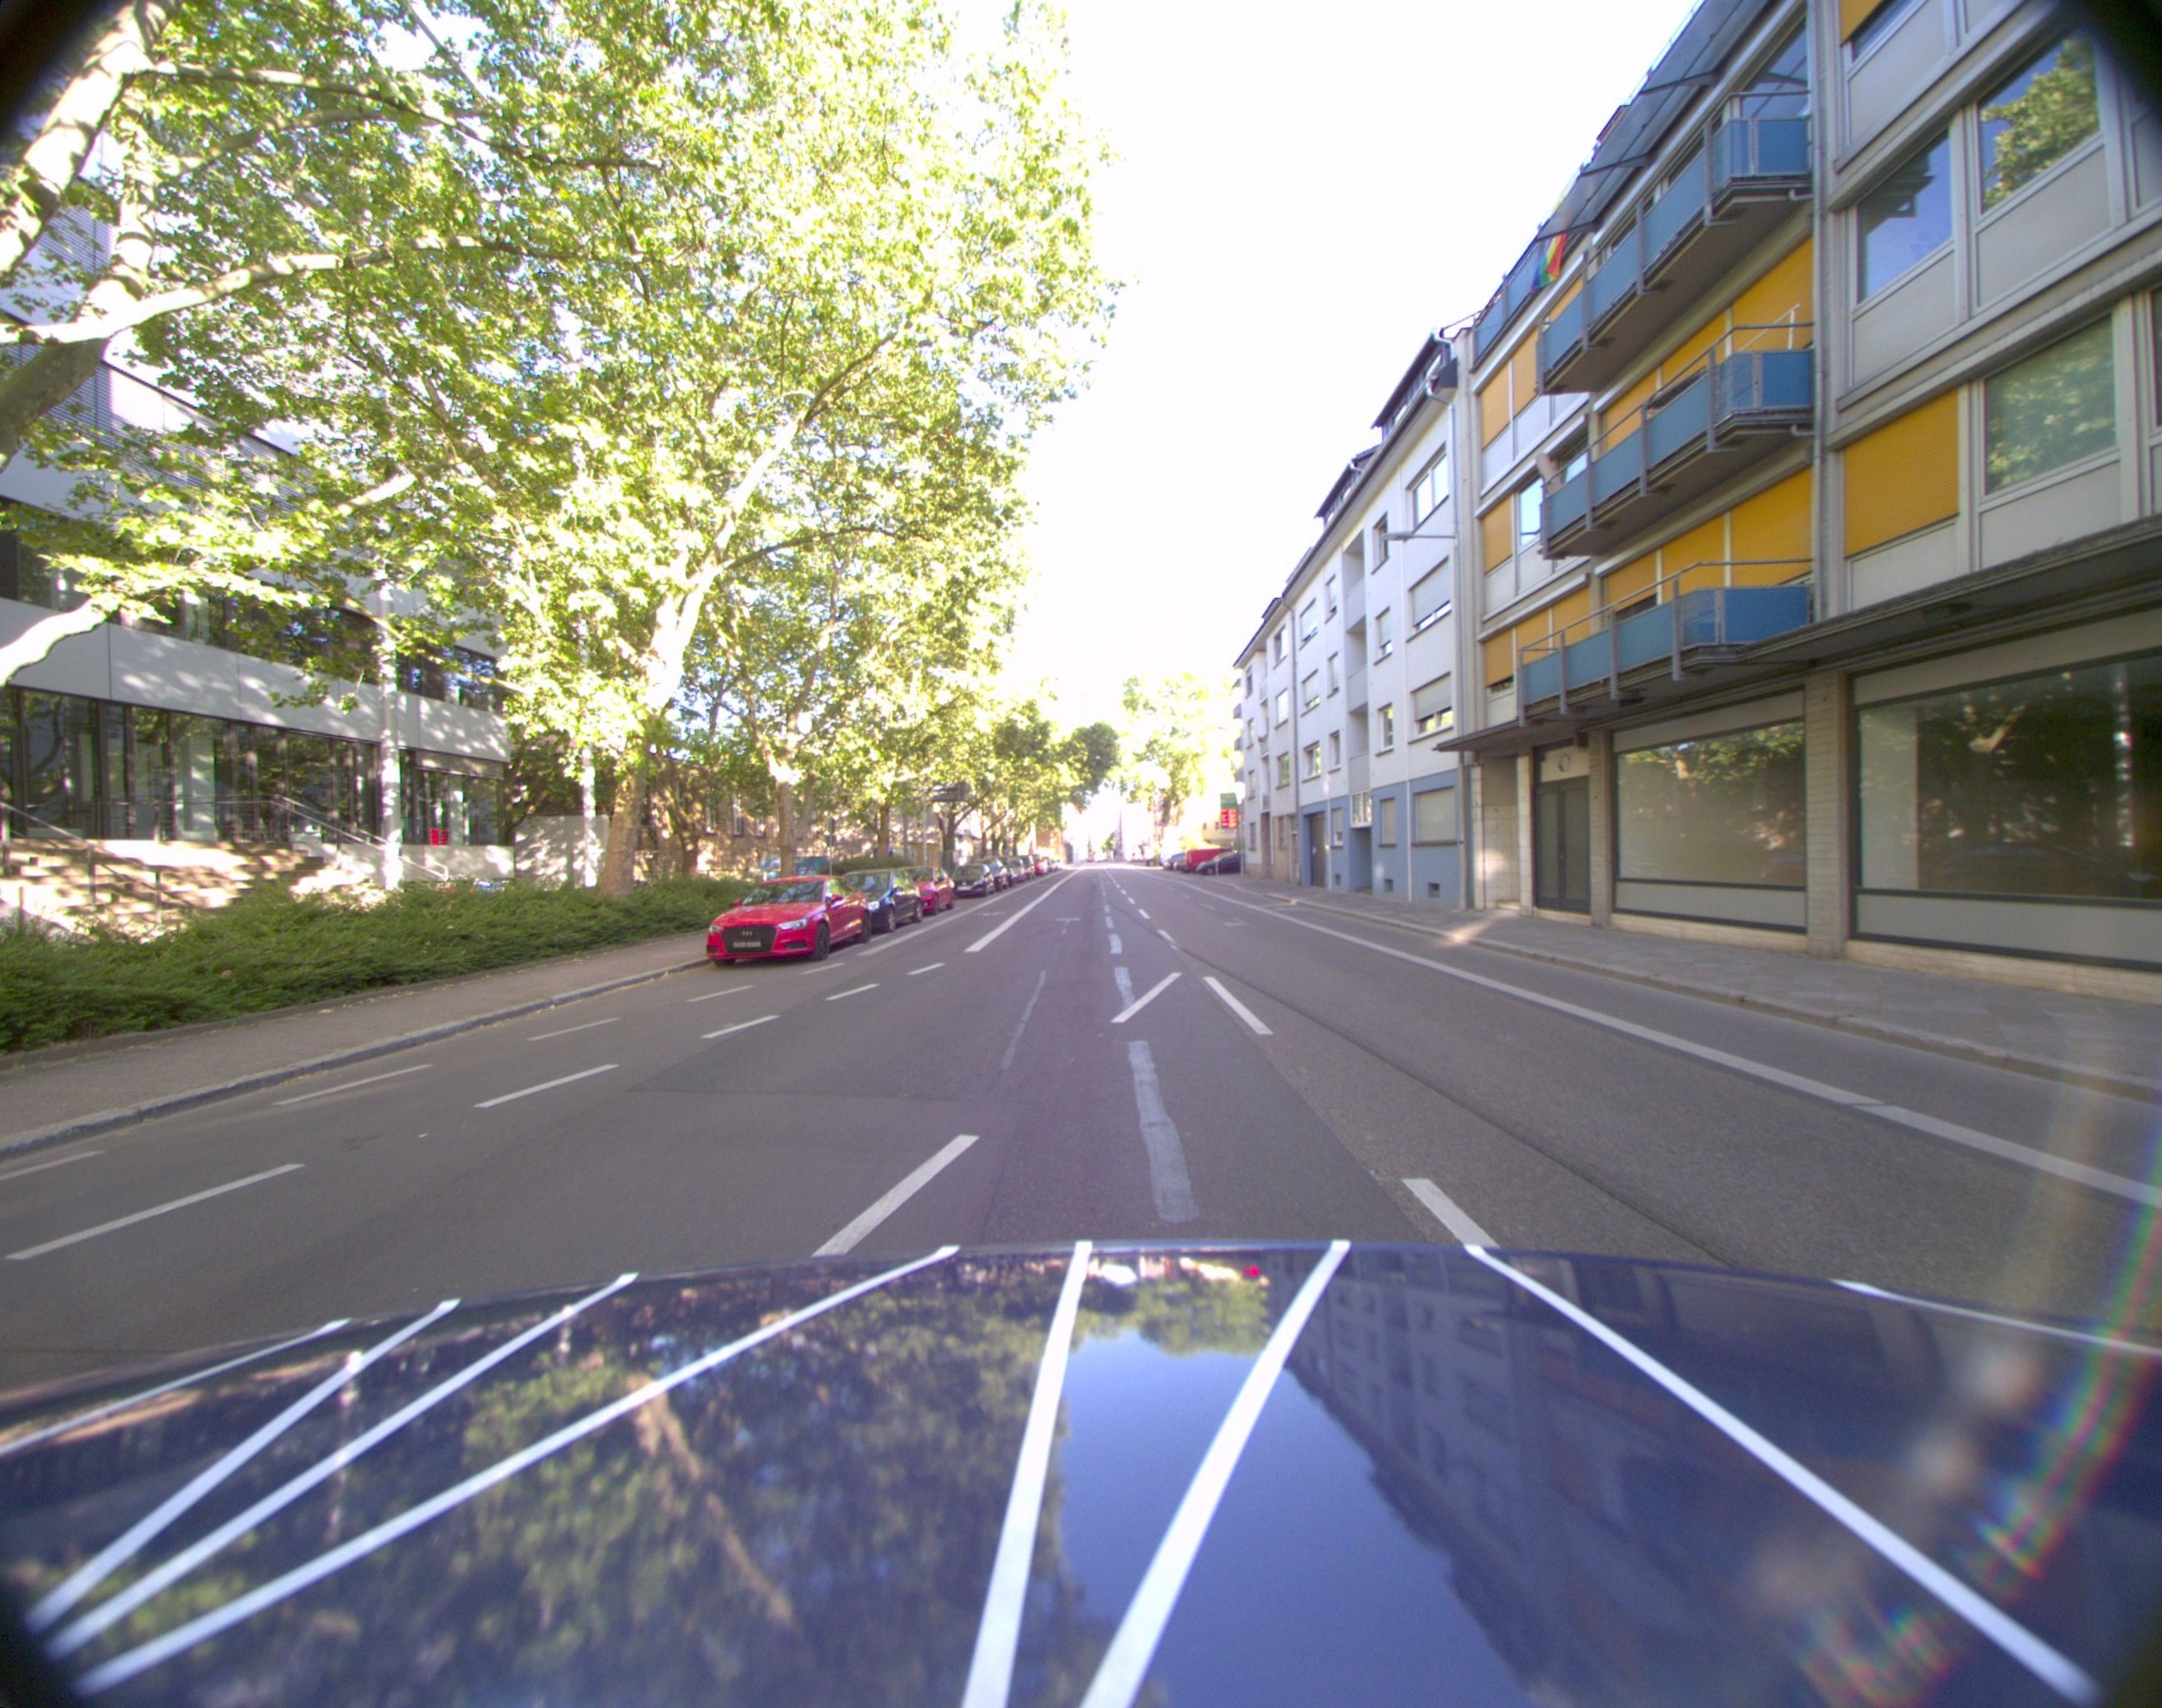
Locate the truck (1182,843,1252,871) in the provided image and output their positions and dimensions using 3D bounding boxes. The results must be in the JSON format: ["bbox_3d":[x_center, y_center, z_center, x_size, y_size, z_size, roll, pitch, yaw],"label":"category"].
[{"bbox_3d":[10.725,0.238,60.105,5.088,2.009,2.000,-2,1,0],"label":"truck"}]

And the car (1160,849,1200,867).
[{"bbox_3d":[9.876,0.382,75.919,3.658,1.578,1.659,-2,1,-5],"label":"car"}]

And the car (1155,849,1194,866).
[{"bbox_3d":[9.612,0.379,78.578,3.703,1.573,1.718,-2,1,-5],"label":"car"}]

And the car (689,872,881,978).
[{"bbox_3d":[-5.075,1.130,13.698,1.775,1.416,4.173,-3,0,0],"label":"car"}]

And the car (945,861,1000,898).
[{"bbox_3d":[-4.678,1.085,33.272,1.745,1.430,4.000,-1,0,1],"label":"car"}]

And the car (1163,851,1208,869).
[{"bbox_3d":[10.086,0.571,73.376,3.998,1.618,1.702,-2,1,-5],"label":"car"}]

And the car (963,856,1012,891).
[{"bbox_3d":[-4.624,0.923,38.218,1.848,1.572,4.232,-2,0,1],"label":"car"}]

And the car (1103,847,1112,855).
[{"bbox_3d":[6.757,-0.790,193.471,1.998,2.002,3.999,-2,1,1],"label":"car"}]

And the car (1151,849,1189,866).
[{"bbox_3d":[9.482,0.375,80.869,3.728,1.579,1.743,-2,1,-5],"label":"car"}]

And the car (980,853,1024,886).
[{"bbox_3d":[-4.547,0.871,44.201,1.998,1.715,4.262,-2,1,1],"label":"car"}]

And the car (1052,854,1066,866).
[{"bbox_3d":[-2.981,0.821,102.907,1.707,1.459,3.809,-1,0,0],"label":"car"}]

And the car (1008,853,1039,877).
[{"bbox_3d":[-4.171,0.754,55.519,1.831,1.608,4.177,-1,0,1],"label":"car"}]

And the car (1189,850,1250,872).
[{"bbox_3d":[9.961,0.513,54.852,3.997,1.385,1.781,-2,1,-1],"label":"car"}]

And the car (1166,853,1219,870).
[{"bbox_3d":[9.177,0.609,62.819,4.033,1.265,1.906,-2,1,-1],"label":"car"}]

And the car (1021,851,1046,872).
[{"bbox_3d":[-4.110,0.619,66.189,1.876,1.685,4.166,-1,0,1],"label":"car"}]

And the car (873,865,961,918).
[{"bbox_3d":[-5.004,1.100,23.725,1.790,1.429,4.000,-1,0,1],"label":"car"}]

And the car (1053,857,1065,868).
[{"bbox_3d":[-2.632,1.033,92.378,1.300,1.220,3.241,-1,0,0],"label":"car"}]

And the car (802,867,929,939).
[{"bbox_3d":[-5.101,1.112,18.577,1.813,1.449,4.000,-1,0,2],"label":"car"}]

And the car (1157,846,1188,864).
[{"bbox_3d":[10.226,0.109,85.252,3.267,1.927,1.693,-2,1,2],"label":"car"}]

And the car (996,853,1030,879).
[{"bbox_3d":[-4.443,0.742,50.462,1.798,1.608,4.075,-1,0,1],"label":"car"}]
